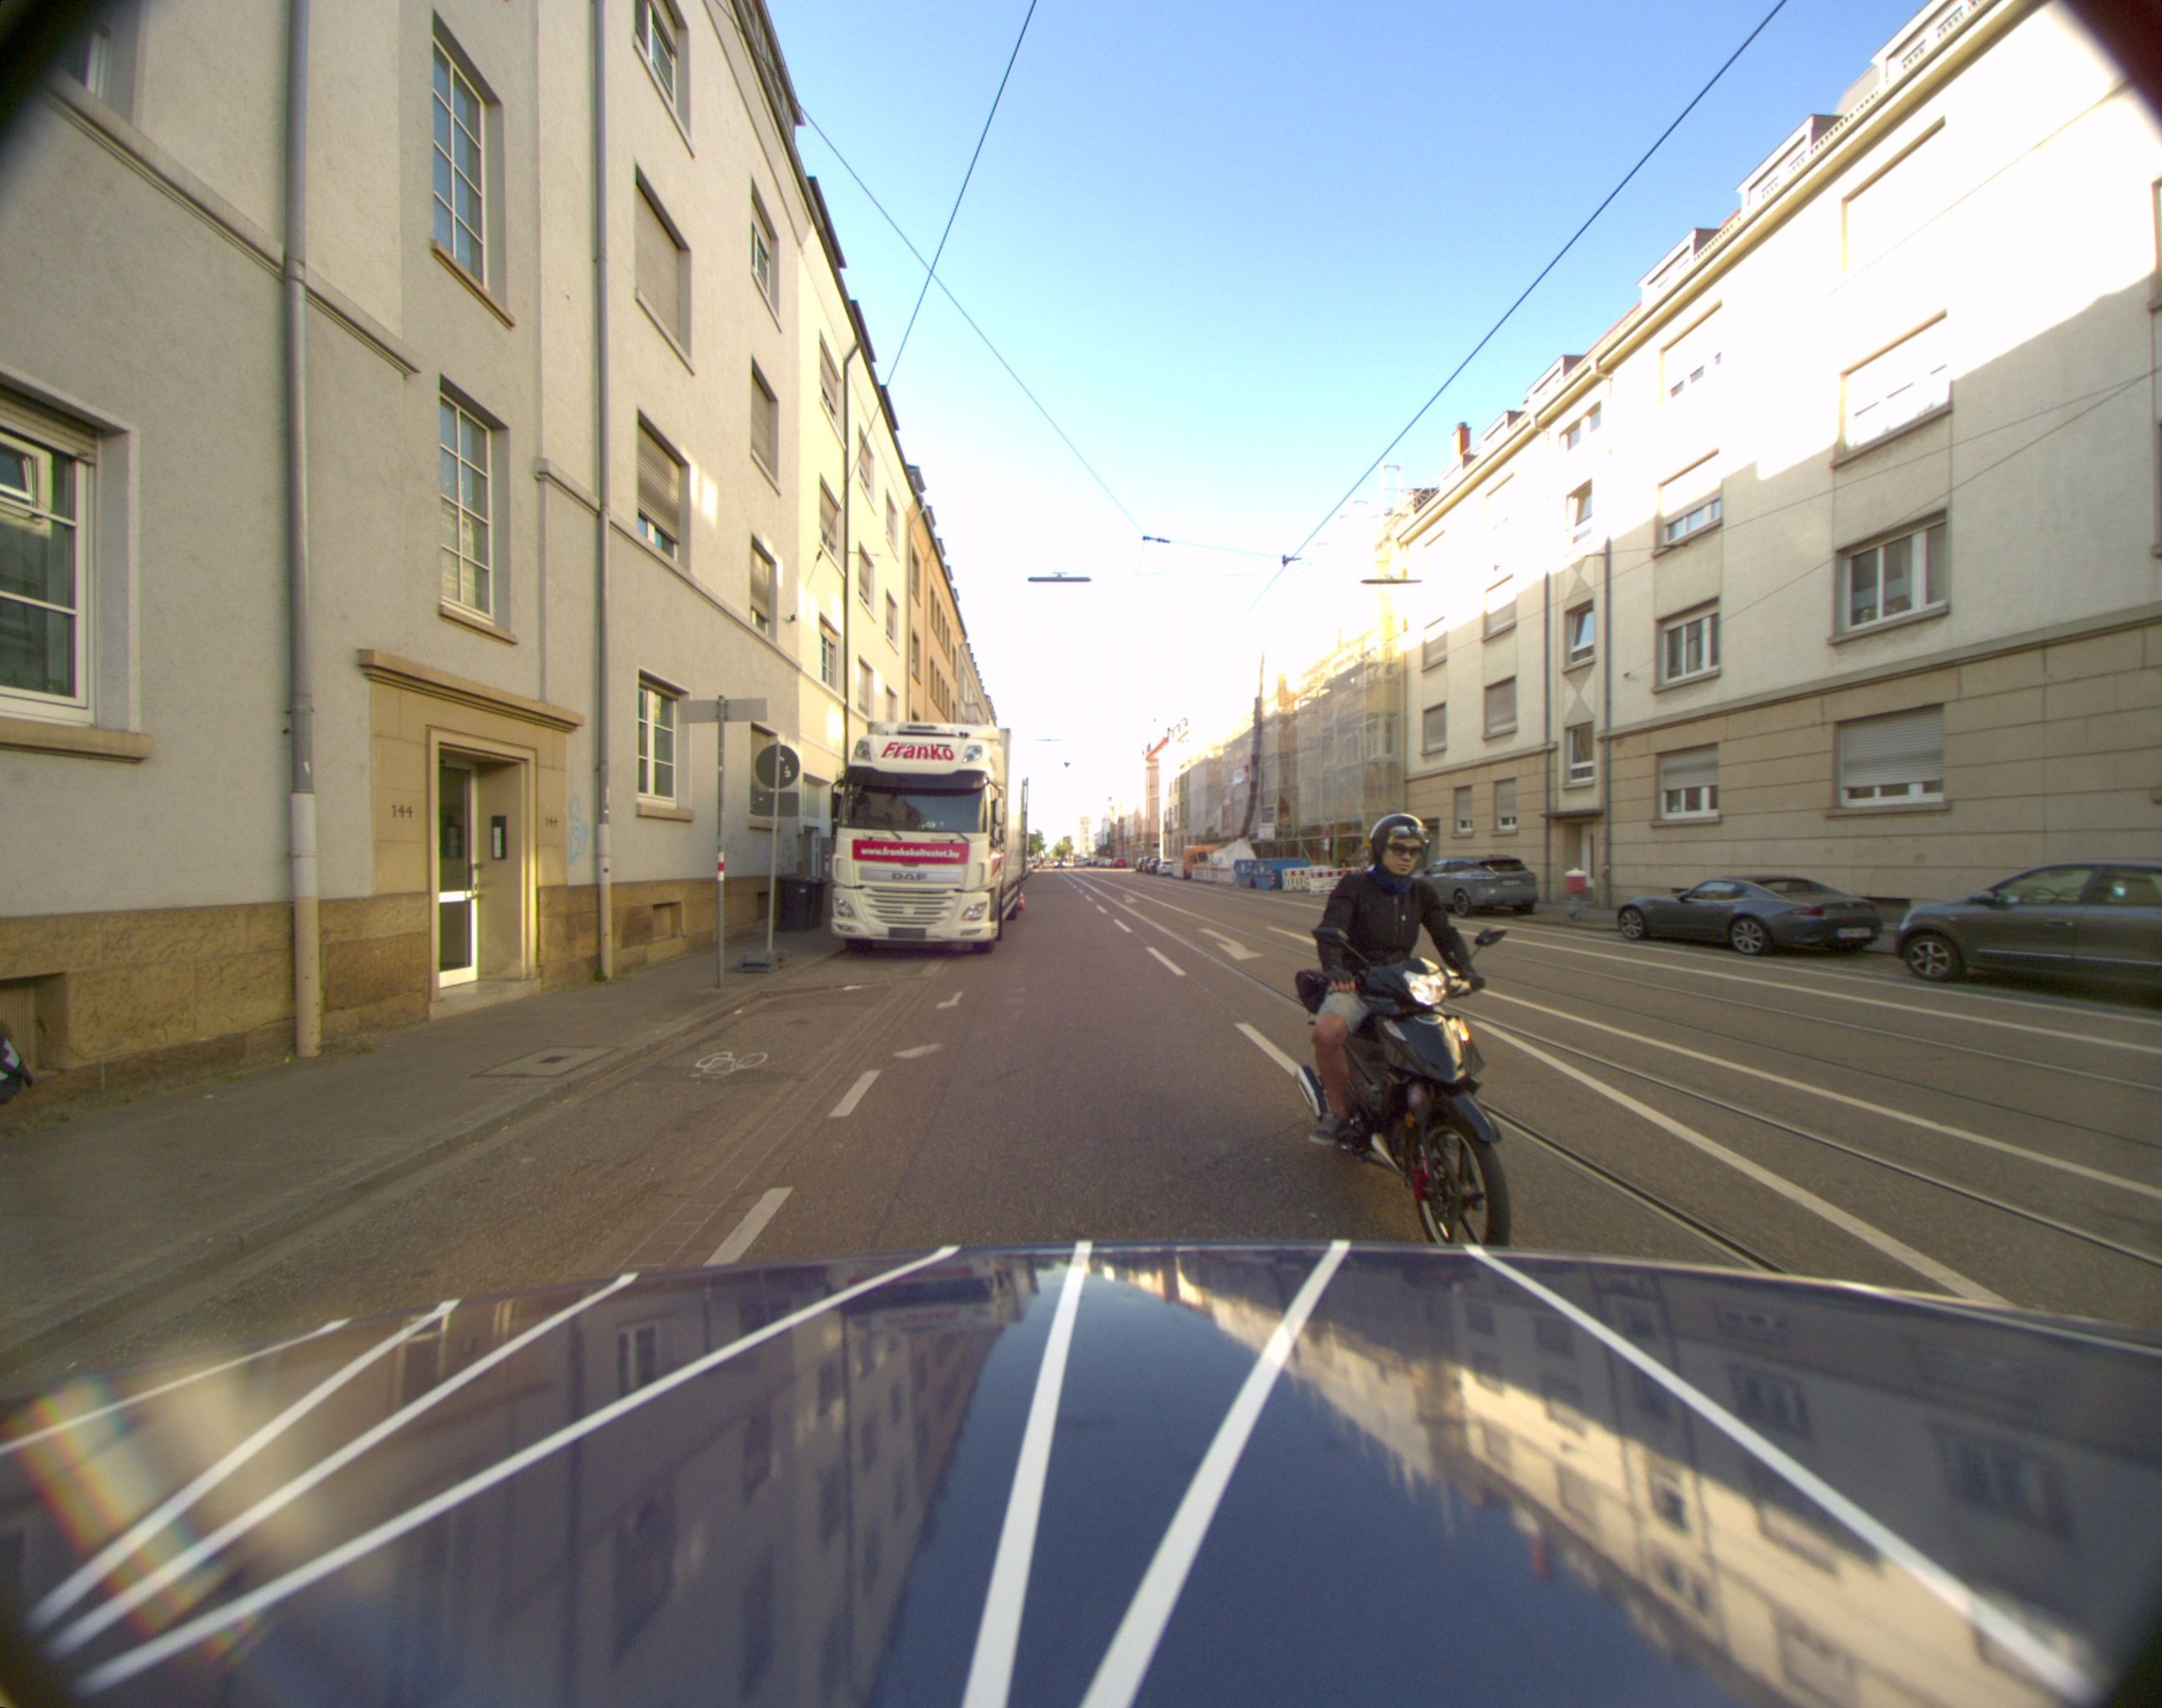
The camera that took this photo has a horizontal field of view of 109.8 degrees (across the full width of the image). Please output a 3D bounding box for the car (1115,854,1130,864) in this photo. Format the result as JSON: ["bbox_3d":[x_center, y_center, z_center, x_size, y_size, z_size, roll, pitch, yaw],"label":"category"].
[{"bbox_3d":[6.496,0.767,118.608,1.799,1.494,3.768,-2,0,-4],"label":"car"}]

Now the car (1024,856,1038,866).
[{"bbox_3d":[-7.384,0.993,112.702,1.999,1.412,3.726,1,0,-2],"label":"car"}]

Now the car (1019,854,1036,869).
[{"bbox_3d":[-5.742,0.838,82.127,1.703,1.581,3.960,0,0,-3],"label":"car"}]

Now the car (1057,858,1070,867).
[{"bbox_3d":[-2.808,1.312,121.466,1.859,1.369,4.000,0,0,0],"label":"car"}]

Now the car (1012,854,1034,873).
[{"bbox_3d":[-5.389,0.873,71.348,1.703,1.688,4.187,1,0,0],"label":"car"}]

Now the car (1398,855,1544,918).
[{"bbox_3d":[10.706,0.813,21.257,1.704,1.558,4.405,0,0,-2],"label":"car"}]

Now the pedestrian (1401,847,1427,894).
[{"bbox_3d":[12.338,0.607,28.162,0.582,1.684,0.716,-2,1,-3],"label":"pedestrian"}]

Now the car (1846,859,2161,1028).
[{"bbox_3d":[11.391,0.892,8.420,1.704,1.560,3.998,-2,1,-2],"label":"car"}]

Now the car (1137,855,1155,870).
[{"bbox_3d":[7.501,0.965,87.938,1.798,1.601,3.769,0,0,0],"label":"car"}]

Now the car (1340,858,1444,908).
[{"bbox_3d":[10.464,0.927,25.892,1.704,1.407,3.998,-3,1,-2],"label":"car"}]

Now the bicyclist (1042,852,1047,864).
[{"bbox_3d":[-4.745,0.540,98.952,0.744,1.481,0.816,0,0,-2],"label":"bicyclist"}]

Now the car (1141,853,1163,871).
[{"bbox_3d":[7.705,0.837,82.941,1.799,1.835,3.768,-2,0,-4],"label":"car"}]

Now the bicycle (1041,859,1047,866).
[{"bbox_3d":[-4.757,1.061,98.841,0.744,0.850,1.885,0,0,-2],"label":"bicycle"}]

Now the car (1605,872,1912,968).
[{"bbox_3d":[11.160,0.993,12.924,1.704,1.209,3.784,-2,1,-4],"label":"car"}]

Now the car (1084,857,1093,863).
[{"bbox_3d":[1.871,1.566,191.496,1.799,1.494,3.768,-2,0,-4],"label":"car"}]

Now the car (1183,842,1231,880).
[{"bbox_3d":[8.723,0.464,53.141,2.125,2.454,5.999,1,0,-2],"label":"car"}]

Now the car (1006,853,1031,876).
[{"bbox_3d":[-4.836,0.805,59.291,1.713,1.683,4.588,1,0,-3],"label":"car"}]

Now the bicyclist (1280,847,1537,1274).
[{"bbox_3d":[1.310,0.748,3.240,0.843,1.545,0.851,0,0,11],"label":"bicyclist"}]

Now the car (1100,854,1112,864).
[{"bbox_3d":[4.845,0.948,148.958,1.999,2.002,3.999,1,0,-3],"label":"car"}]

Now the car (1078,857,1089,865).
[{"bbox_3d":[0.423,1.303,148.080,1.826,1.559,4.199,-2,0,-4],"label":"car"}]

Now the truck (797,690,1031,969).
[{"bbox_3d":[-2.821,-0.343,16.955,2.867,4.049,11.776,0,0,-1],"label":"truck"}]

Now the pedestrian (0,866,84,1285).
[{"bbox_3d":[-4.352,0.805,2.552,0.827,1.525,0.869,2,0,-1],"label":"pedestrian"}]

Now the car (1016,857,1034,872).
[{"bbox_3d":[-5.652,1.011,77.009,1.703,1.496,3.862,0,0,-2],"label":"car"}]

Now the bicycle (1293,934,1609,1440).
[{"bbox_3d":[1.305,1.024,3.125,0.739,1.170,1.976,0,0,13],"label":"bicycle"}]

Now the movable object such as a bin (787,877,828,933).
[{"bbox_3d":[-5.521,1.023,15.350,0.660,1.098,0.541,0,1,-5],"label":"movable object such as a bin"}]

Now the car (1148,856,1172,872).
[{"bbox_3d":[7.956,0.985,76.987,1.703,1.569,4.221,-2,0,-4],"label":"car"}]

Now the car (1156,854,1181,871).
[{"bbox_3d":[8.125,0.757,70.839,1.751,1.502,3.999,1,0,-2],"label":"car"}]

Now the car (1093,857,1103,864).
[{"bbox_3d":[3.700,1.374,167.437,1.799,1.494,3.768,-2,0,-4],"label":"car"}]

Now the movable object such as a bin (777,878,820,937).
[{"bbox_3d":[-5.482,1.026,14.758,0.660,1.098,0.541,0,1,-5],"label":"movable object such as a bin"}]
